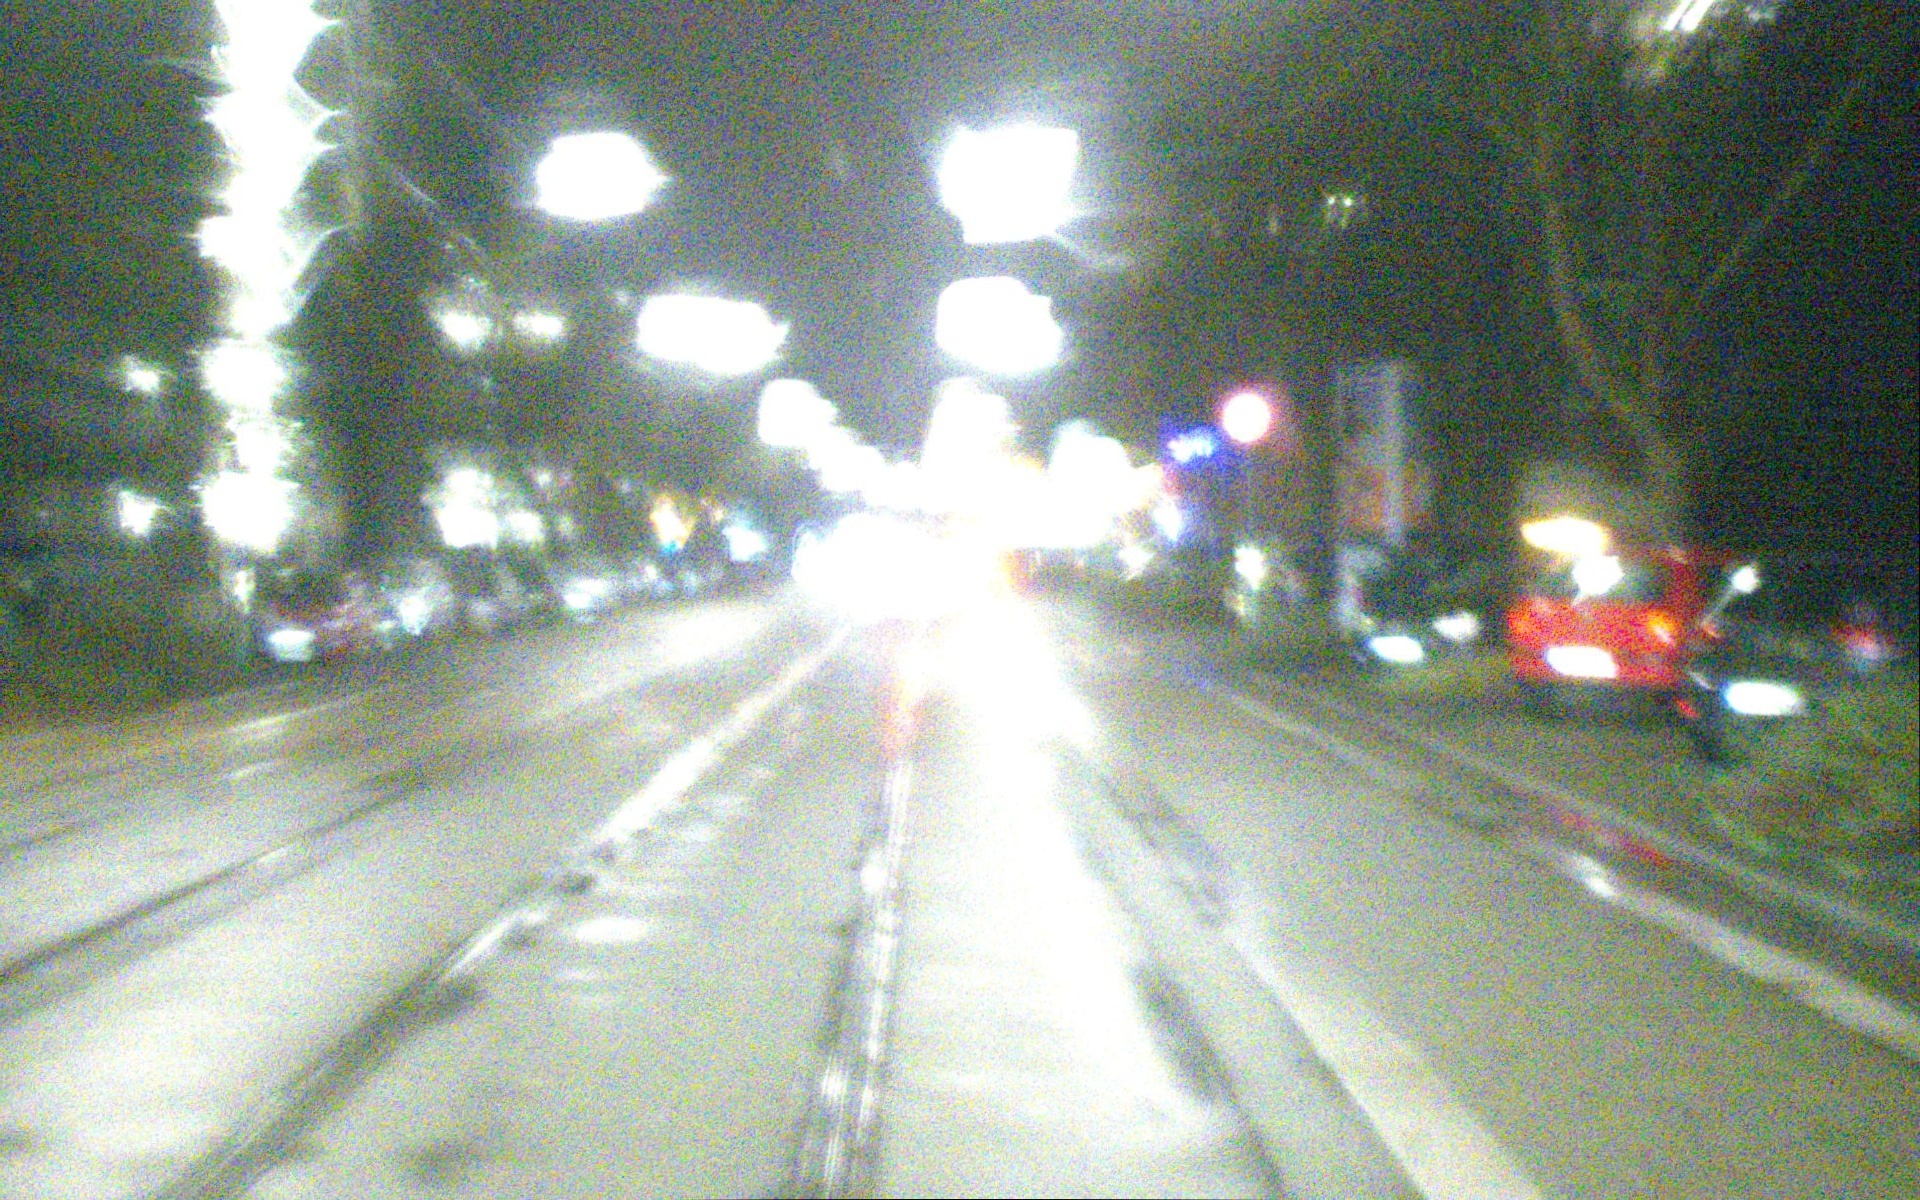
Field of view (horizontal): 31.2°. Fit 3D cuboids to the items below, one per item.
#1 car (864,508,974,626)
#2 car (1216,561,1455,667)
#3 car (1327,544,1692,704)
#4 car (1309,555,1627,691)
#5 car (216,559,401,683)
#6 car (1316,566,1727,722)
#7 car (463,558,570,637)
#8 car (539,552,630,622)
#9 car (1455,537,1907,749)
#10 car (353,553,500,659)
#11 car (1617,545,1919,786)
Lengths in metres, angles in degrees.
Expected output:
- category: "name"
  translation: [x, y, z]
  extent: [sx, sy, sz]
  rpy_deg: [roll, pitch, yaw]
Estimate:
- category: "car"
  translation: [-0.926, -0.726, 74.081]
  extent: [2.216, 2.433, 5.385]
  rpy_deg: [1, 1, -2]
- category: "car"
  translation: [5.989, 0.224, 54.529]
  extent: [1.909, 1.567, 3.953]
  rpy_deg: [2, 1, 38]
- category: "car"
  translation: [6.336, 0.271, 39.380]
  extent: [2.029, 1.692, 4.237]
  rpy_deg: [2, 1, 44]
- category: "car"
  translation: [6.311, 0.280, 42.473]
  extent: [1.909, 1.567, 3.952]
  rpy_deg: [2, 1, 44]
- category: "car"
  translation: [-9.995, 0.309, 53.096]
  extent: [2.108, 1.758, 4.966]
  rpy_deg: [2, 0, -3]
- category: "car"
  translation: [5.740, 0.433, 34.867]
  extent: [4.237, 1.449, 1.950]
  rpy_deg: [1, 1, -44]
- category: "car"
  translation: [-10.486, -0.049, 81.493]
  extent: [2.022, 1.755, 4.000]
  rpy_deg: [2, 0, -1]
- category: "car"
  translation: [-10.091, -0.345, 92.645]
  extent: [2.022, 1.755, 4.000]
  rpy_deg: [2, 0, -1]
- category: "car"
  translation: [6.097, 0.340, 28.827]
  extent: [2.054, 1.618, 3.819]
  rpy_deg: [2, 1, 41]
- category: "car"
  translation: [-9.499, 0.101, 61.530]
  extent: [1.999, 1.779, 4.000]
  rpy_deg: [2, 0, -1]
- category: "car"
  translation: [6.165, 0.385, 22.582]
  extent: [3.818, 1.425, 1.636]
  rpy_deg: [0, 1, -42]
